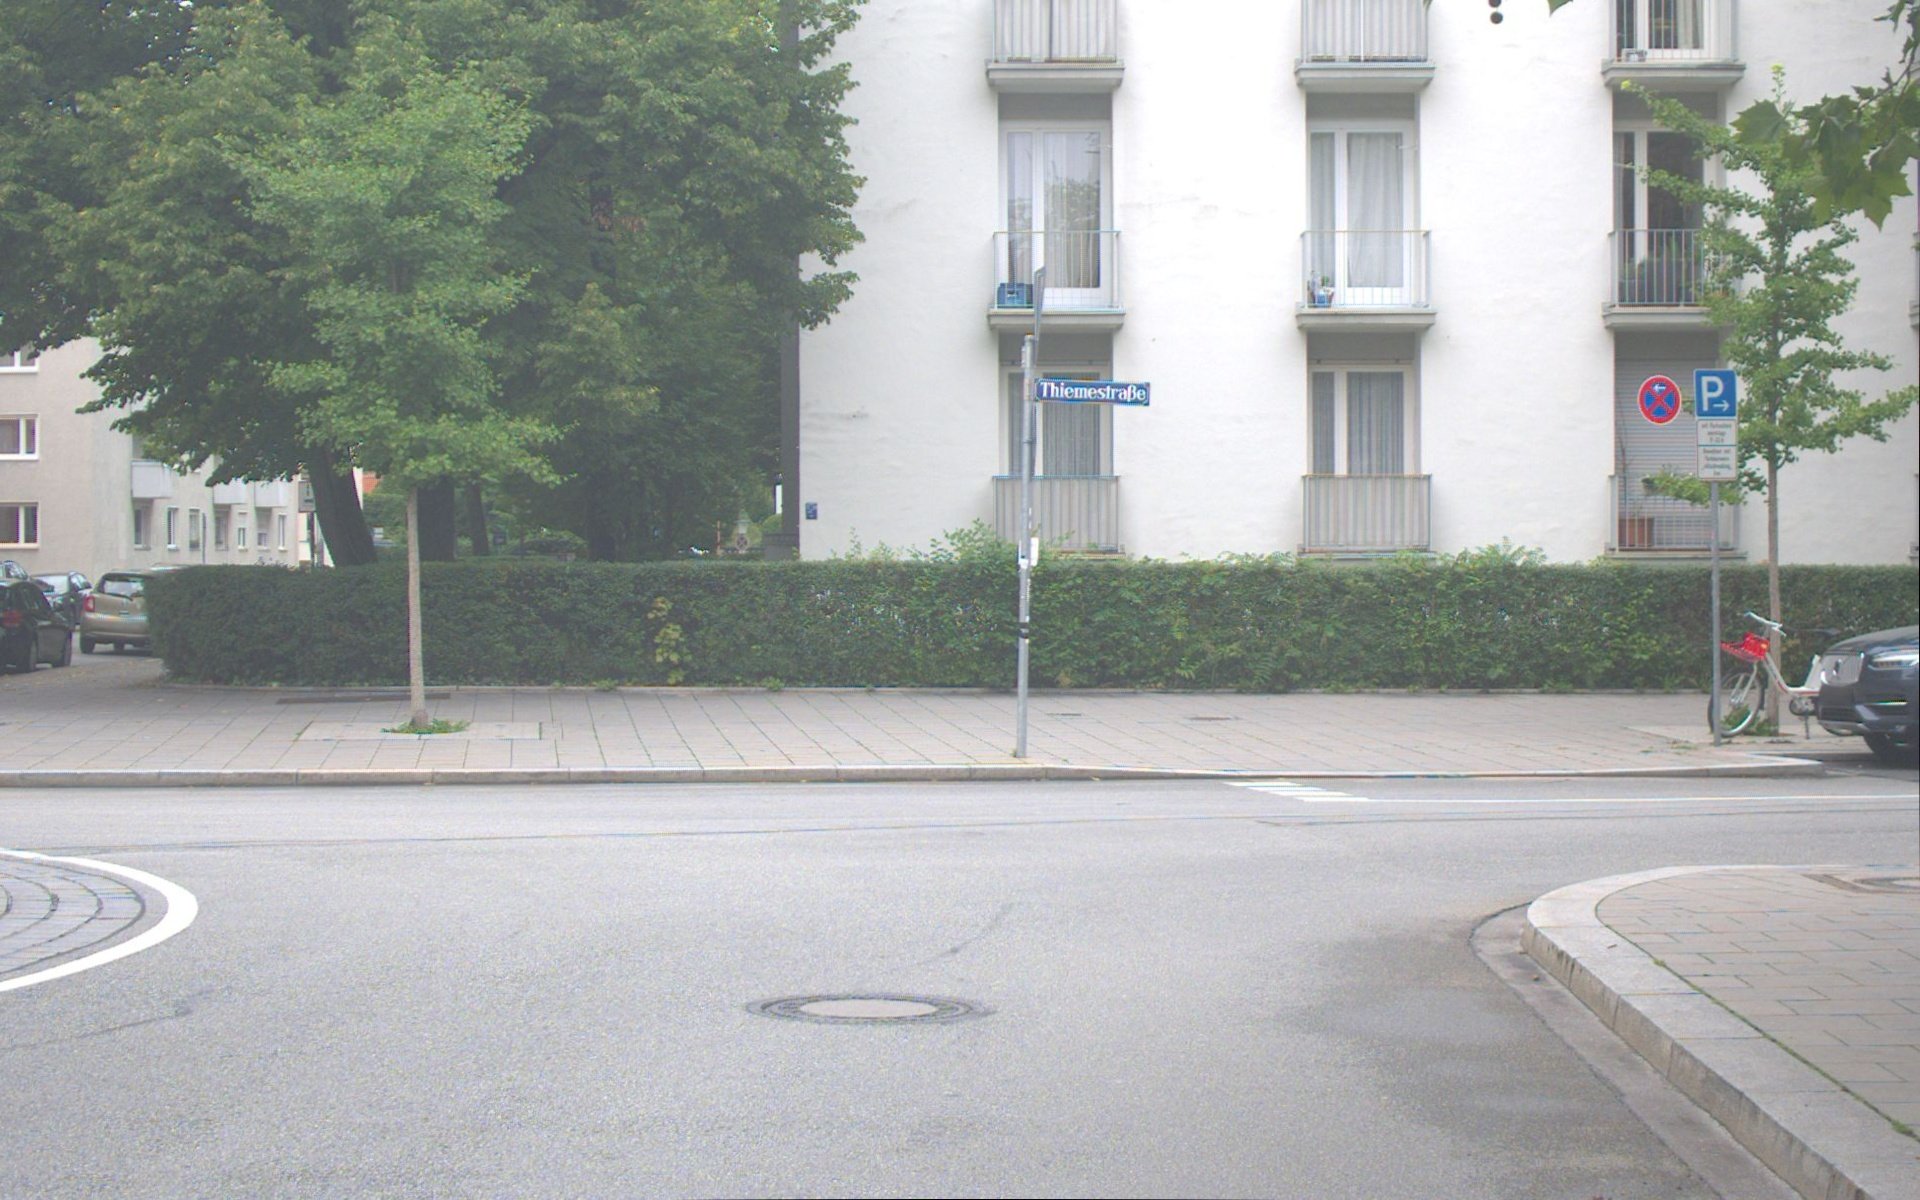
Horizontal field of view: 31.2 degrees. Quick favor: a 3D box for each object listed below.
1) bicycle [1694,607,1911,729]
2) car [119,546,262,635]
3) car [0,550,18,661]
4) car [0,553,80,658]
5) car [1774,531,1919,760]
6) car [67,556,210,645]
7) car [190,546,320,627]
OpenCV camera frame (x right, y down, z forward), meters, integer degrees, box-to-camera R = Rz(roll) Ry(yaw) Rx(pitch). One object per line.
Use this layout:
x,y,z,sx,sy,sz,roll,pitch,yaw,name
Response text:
7.452,0.590,30.416,1.824,1.045,0.492,0,1,-11,bicycle
-14.979,-0.215,67.134,1.835,1.629,4.115,-1,1,0,car
-13.792,0.108,45.648,1.793,1.500,4.116,-1,1,-6,car
-14.415,0.063,51.413,1.793,1.500,4.116,-1,1,-6,car
9.342,0.364,28.000,4.896,1.786,2.000,0,0,-5,car
-14.898,-0.020,62.522,1.835,1.500,4.116,-1,1,-4,car
-14.886,-0.308,72.801,1.835,1.629,3.819,-1,1,2,car
